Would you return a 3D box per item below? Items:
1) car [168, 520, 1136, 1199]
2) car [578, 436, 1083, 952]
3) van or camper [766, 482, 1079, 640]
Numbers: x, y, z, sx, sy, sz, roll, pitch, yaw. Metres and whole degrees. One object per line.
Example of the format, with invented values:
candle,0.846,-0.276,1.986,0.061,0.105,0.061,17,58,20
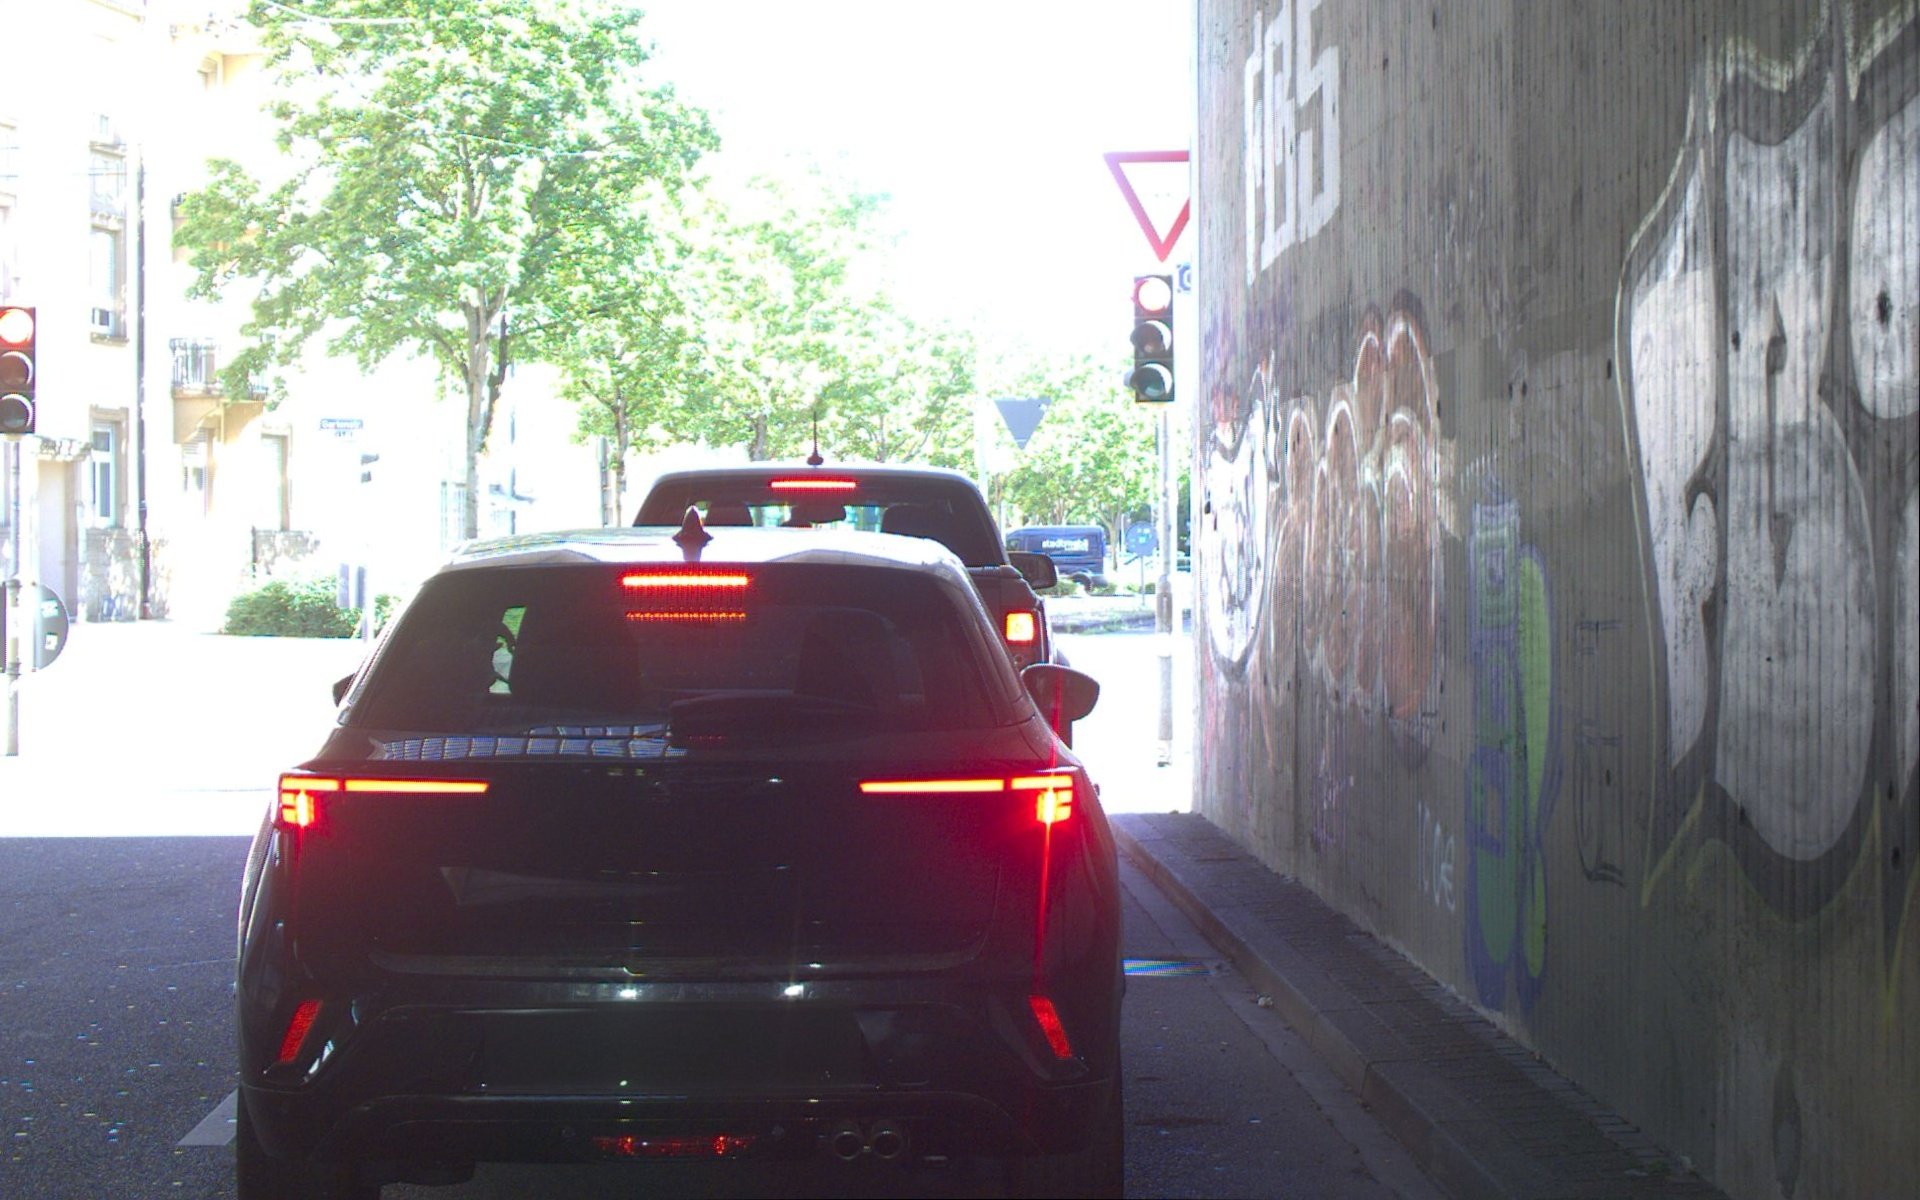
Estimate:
car,-0.587,0.571,8.278,1.753,1.493,4.000,1,1,-1
car,-0.491,0.297,14.214,1.786,1.827,3.961,0,1,-1
van or camper,-0.463,-0.515,45.254,3.878,2.007,2.000,0,1,7
